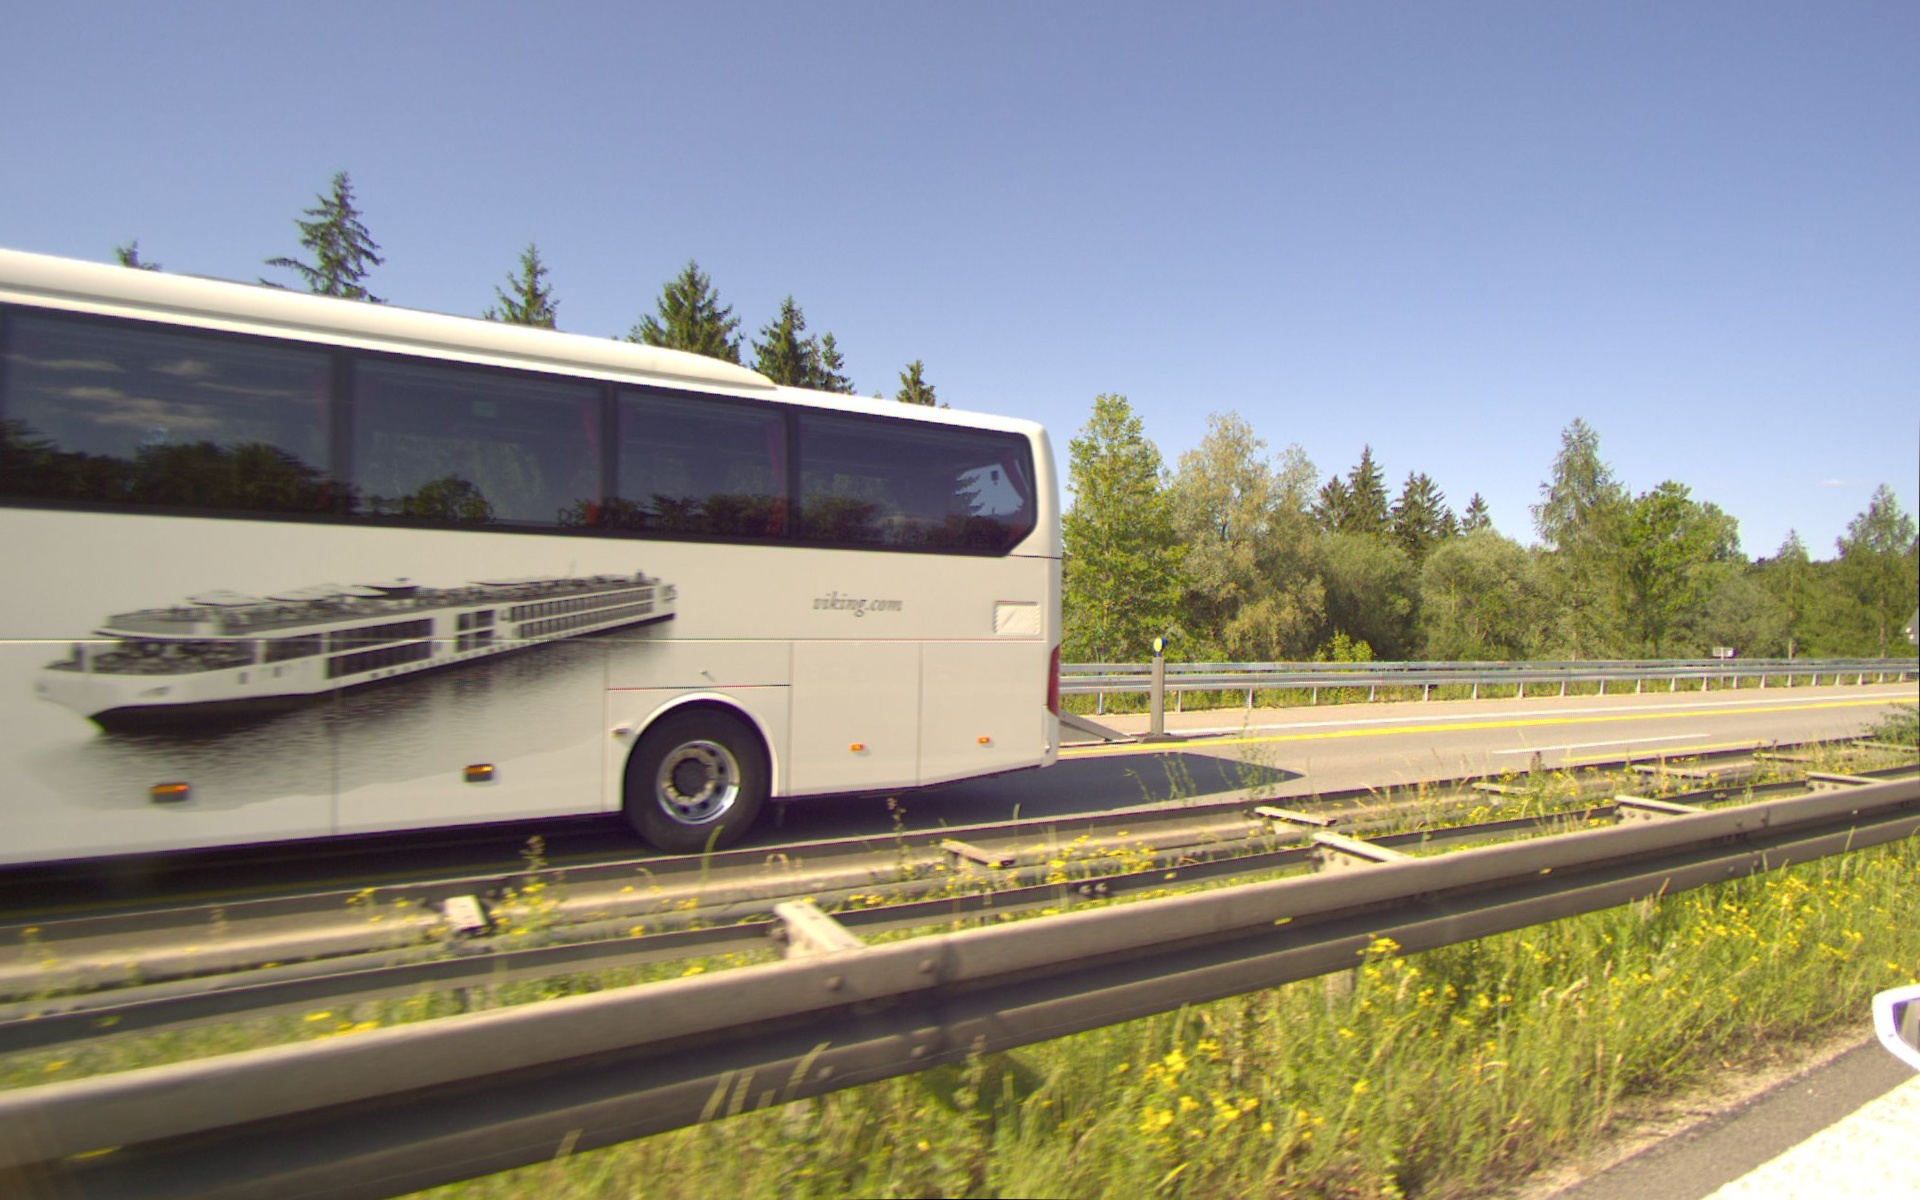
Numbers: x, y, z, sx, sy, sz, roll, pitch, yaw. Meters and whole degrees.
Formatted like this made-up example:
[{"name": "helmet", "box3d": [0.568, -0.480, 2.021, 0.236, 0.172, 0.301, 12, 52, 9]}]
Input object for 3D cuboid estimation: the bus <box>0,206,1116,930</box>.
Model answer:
[{"name": "bus", "box3d": [-4.784, -0.124, 6.932, 12.771, 3.719, 2.867, 2, -1, -31]}]
